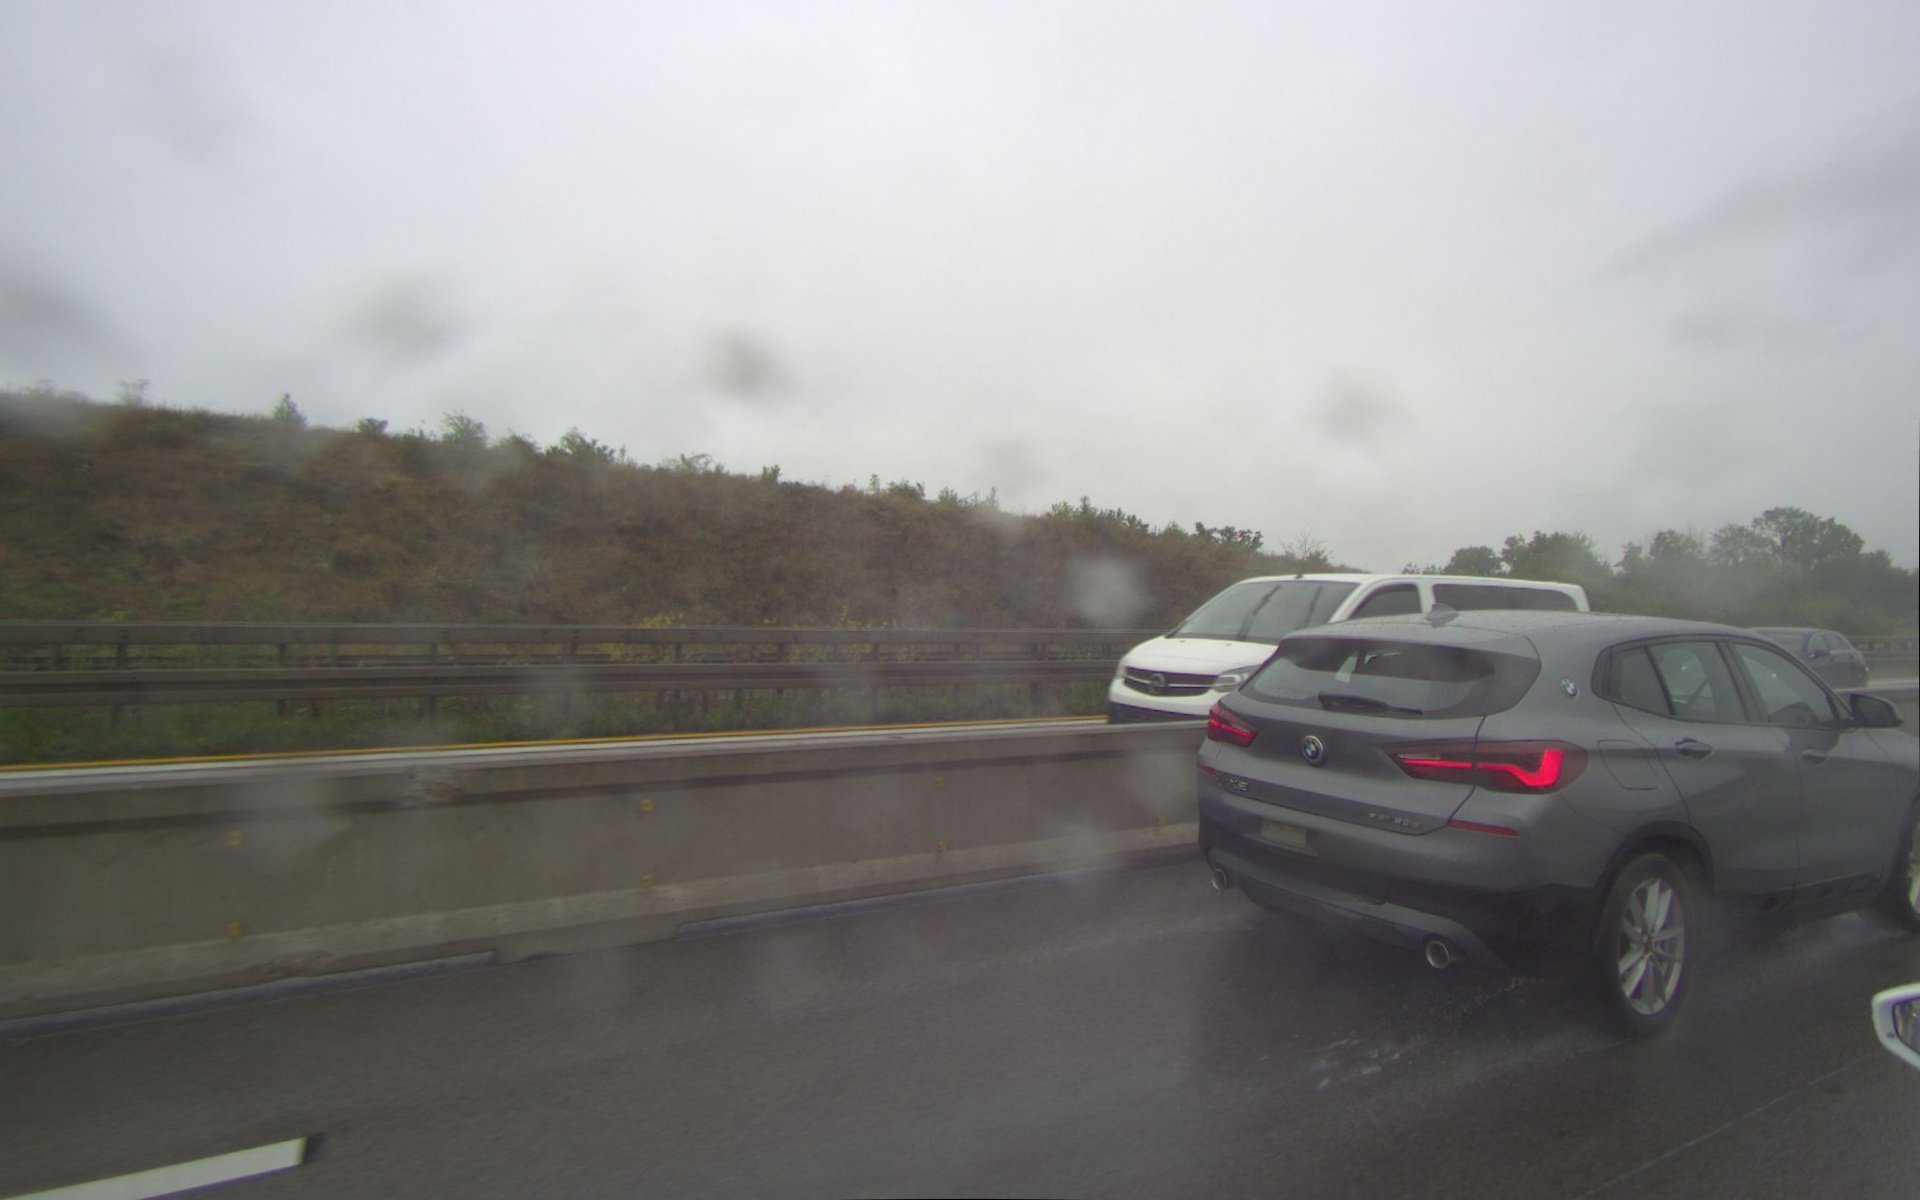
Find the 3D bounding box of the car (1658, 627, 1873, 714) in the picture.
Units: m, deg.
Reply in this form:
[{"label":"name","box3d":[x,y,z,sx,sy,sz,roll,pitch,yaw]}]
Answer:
[{"label":"car","box3d":[15.892,1.343,19.752,4.642,1.480,1.752,2,0,-30]}]

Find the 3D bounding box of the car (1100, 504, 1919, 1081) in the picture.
[{"label":"car","box3d":[3.080,0.650,4.791,4.789,1.619,1.693,2,-3,-30]}]

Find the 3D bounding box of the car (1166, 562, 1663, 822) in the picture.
[{"label":"car","box3d":[4.519,0.768,9.773,4.877,1.995,1.935,2,0,-30]}]
